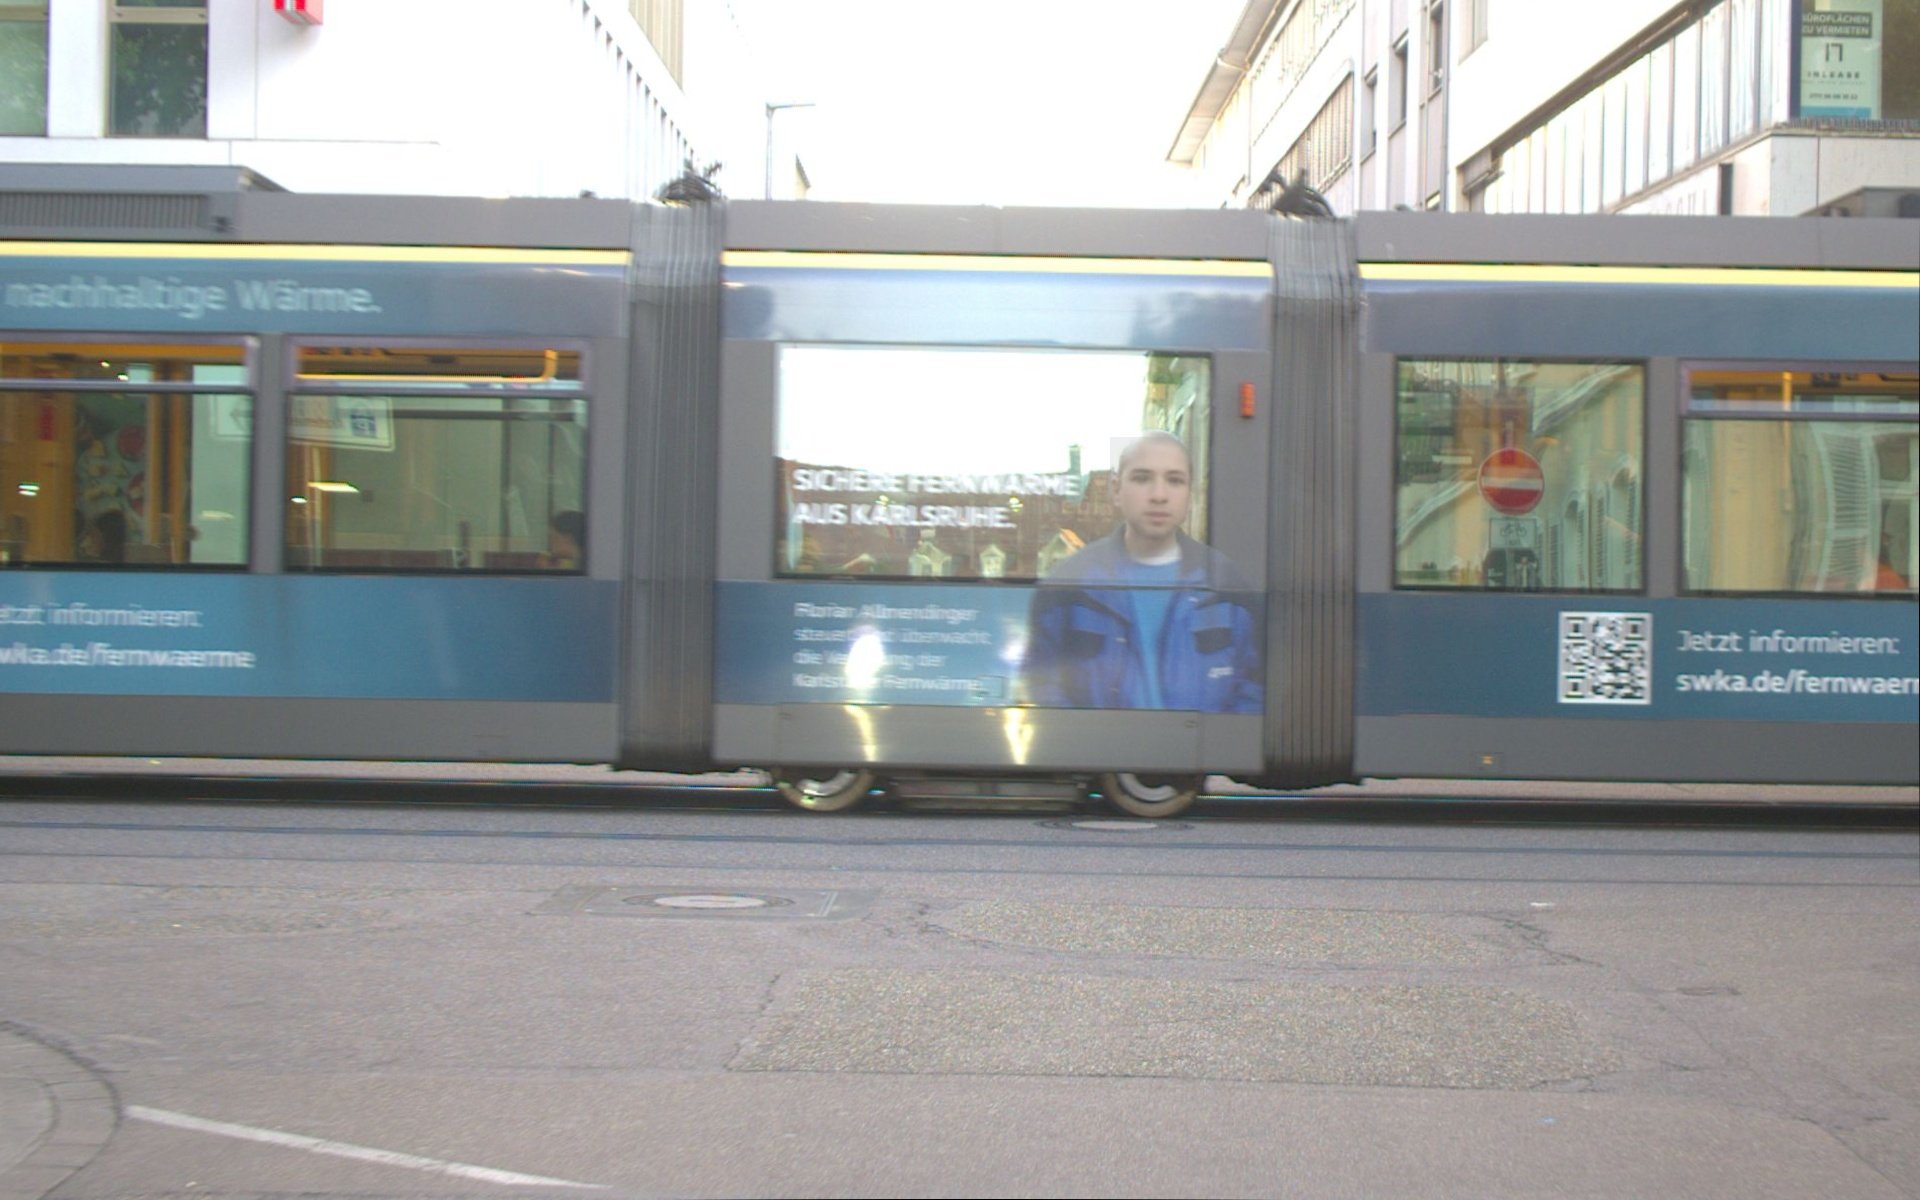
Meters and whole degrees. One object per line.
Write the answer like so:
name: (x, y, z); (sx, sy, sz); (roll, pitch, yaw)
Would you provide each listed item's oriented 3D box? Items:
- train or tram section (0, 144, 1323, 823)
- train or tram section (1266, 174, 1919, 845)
train or tram section: (-3.284, -0.639, 19.629); (10.367, 3.512, 3.017); (1, 0, 0)
train or tram section: (7.053, -0.472, 19.562); (10.336, 3.511, 3.026); (0, 1, 0)
